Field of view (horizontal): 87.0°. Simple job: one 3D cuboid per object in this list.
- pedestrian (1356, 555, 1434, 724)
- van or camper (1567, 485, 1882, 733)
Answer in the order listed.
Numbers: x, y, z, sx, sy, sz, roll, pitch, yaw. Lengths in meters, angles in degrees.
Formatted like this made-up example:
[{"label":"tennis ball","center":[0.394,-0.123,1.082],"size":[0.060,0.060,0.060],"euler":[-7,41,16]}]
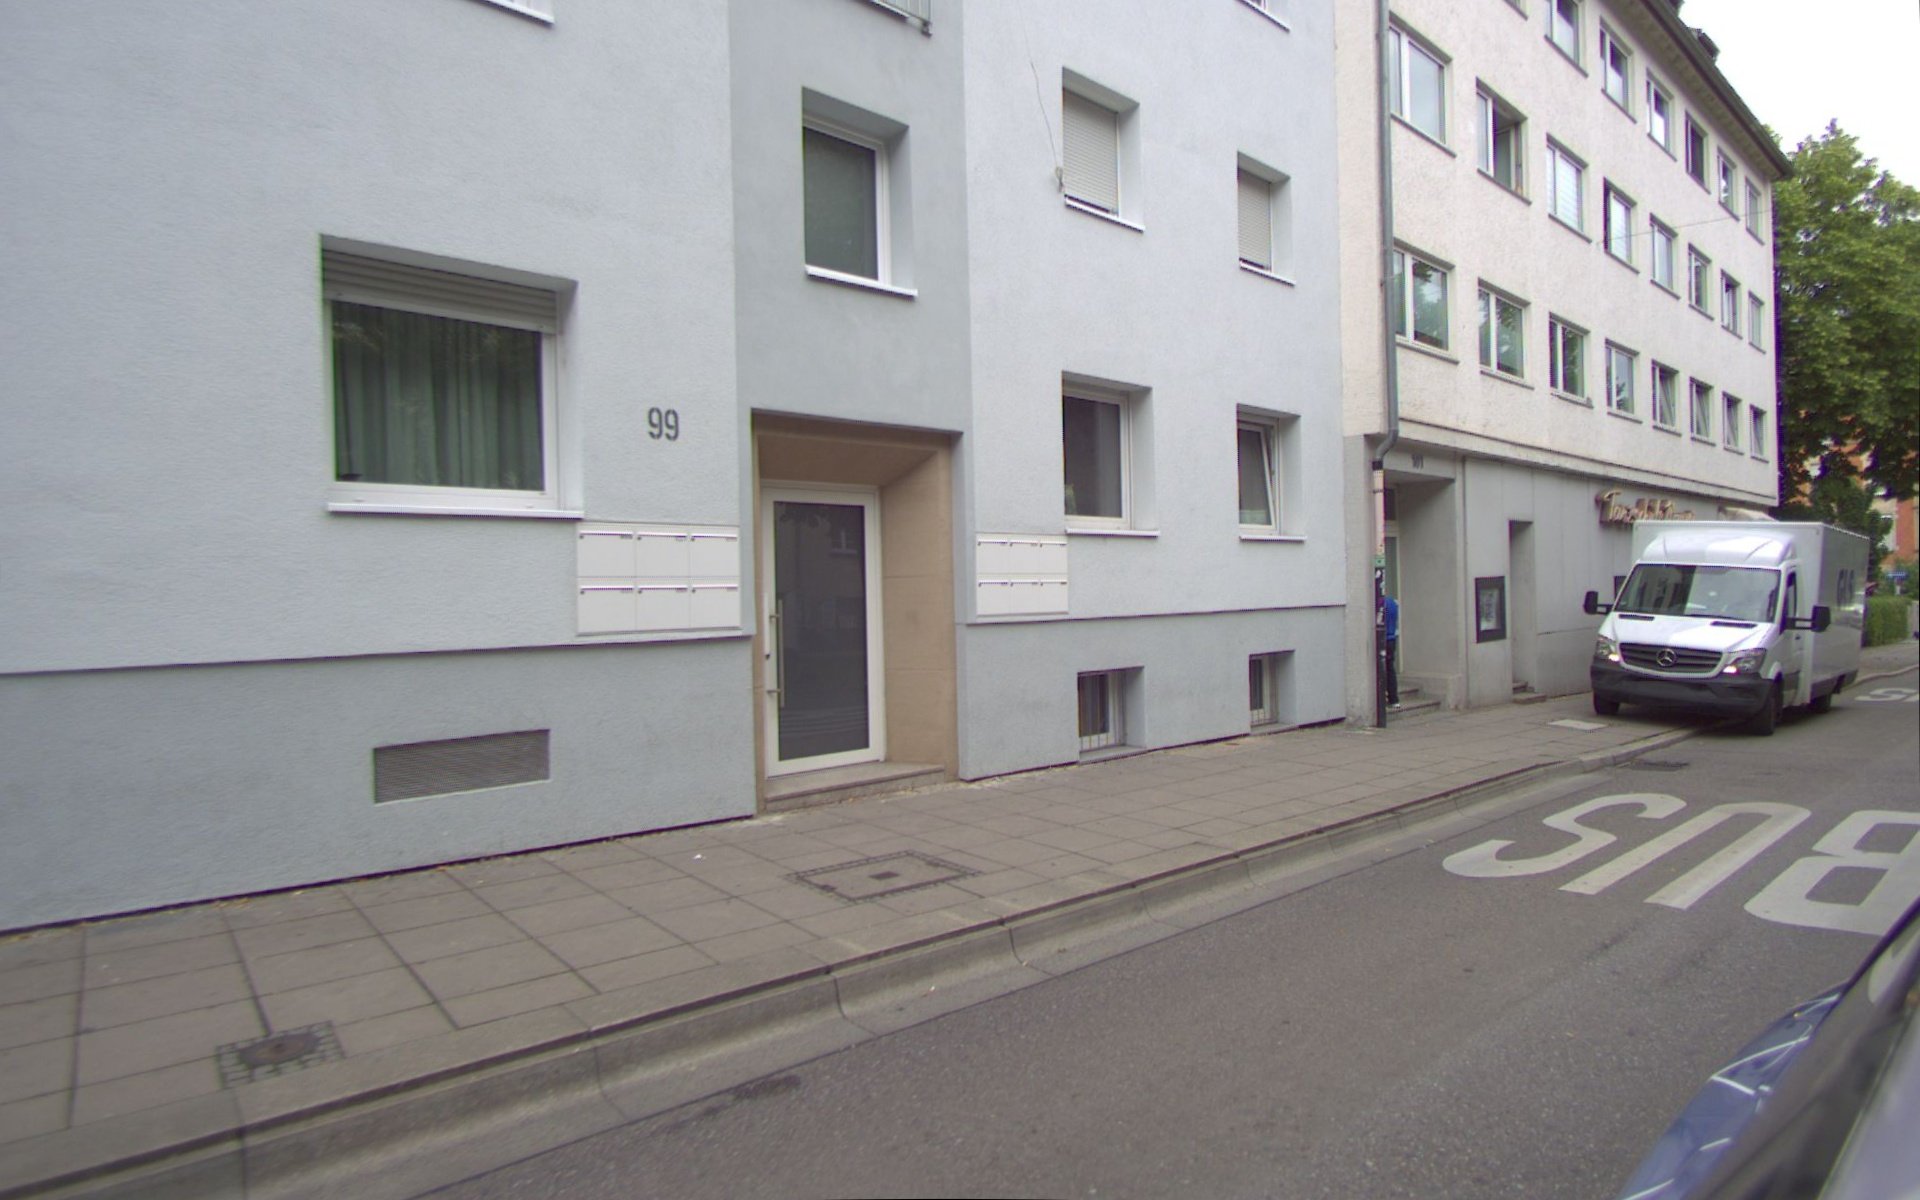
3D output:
[{"label":"pedestrian","center":[5.452,0.484,12.692],"size":[0.673,2.039,0.635],"euler":[0,-1,-39]},{"label":"van or camper","center":[11.508,0.085,14.927],"size":[7.115,2.838,2.483],"euler":[0,1,-43]}]
